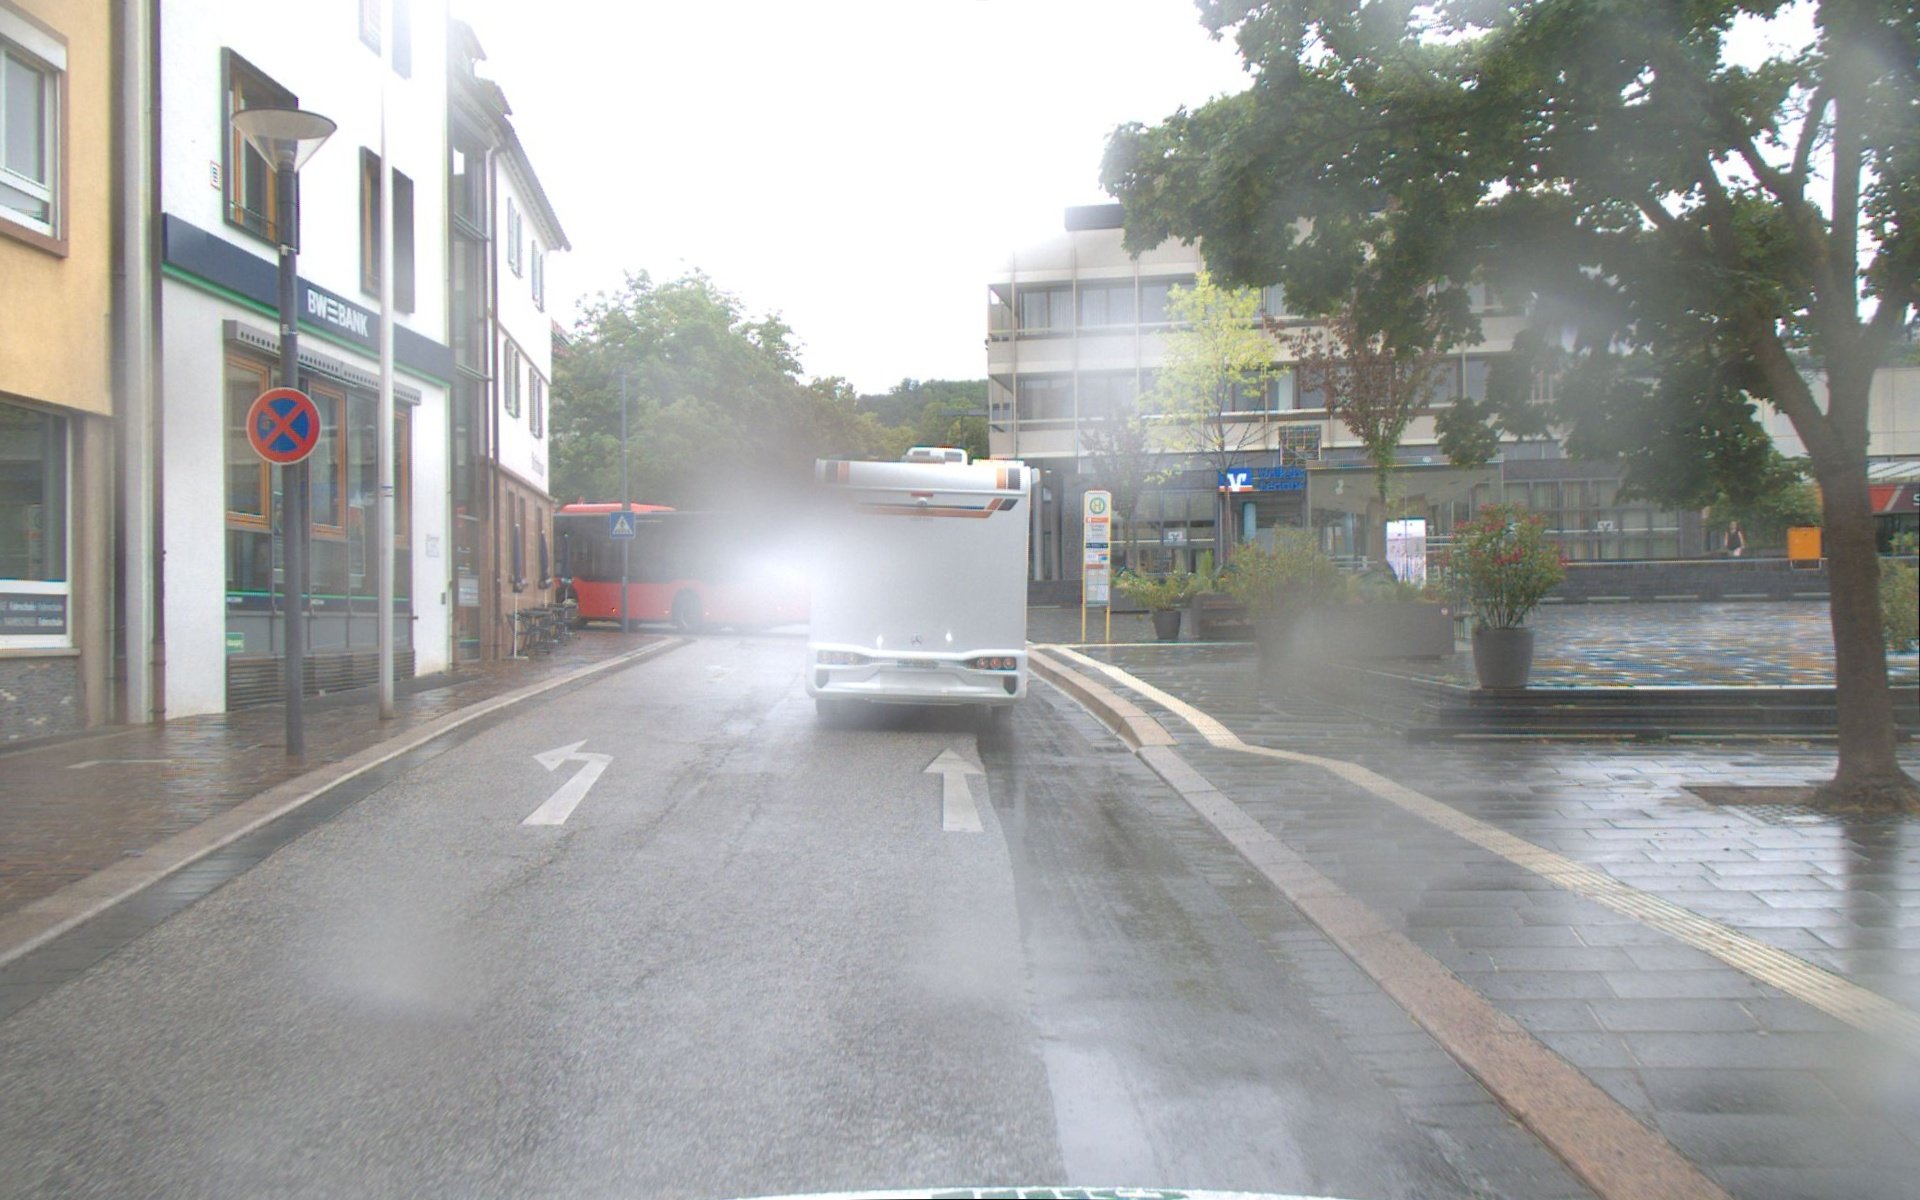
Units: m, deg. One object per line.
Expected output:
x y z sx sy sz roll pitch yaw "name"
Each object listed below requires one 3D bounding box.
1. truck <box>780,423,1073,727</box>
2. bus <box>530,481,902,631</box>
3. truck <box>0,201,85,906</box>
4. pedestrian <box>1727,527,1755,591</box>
-0.445 -0.256 19.061 2.750 2.845 6.104 -2 0 -3 "truck"
-6.262 -0.951 41.000 9.949 3.201 3.021 -2 0 38 "bus"
-4.497 -0.046 3.501 2.353 2.639 6.476 -1 3 -6 "truck"
27.185 -1.419 57.582 0.742 2.185 0.659 -2 0 16 "pedestrian"
